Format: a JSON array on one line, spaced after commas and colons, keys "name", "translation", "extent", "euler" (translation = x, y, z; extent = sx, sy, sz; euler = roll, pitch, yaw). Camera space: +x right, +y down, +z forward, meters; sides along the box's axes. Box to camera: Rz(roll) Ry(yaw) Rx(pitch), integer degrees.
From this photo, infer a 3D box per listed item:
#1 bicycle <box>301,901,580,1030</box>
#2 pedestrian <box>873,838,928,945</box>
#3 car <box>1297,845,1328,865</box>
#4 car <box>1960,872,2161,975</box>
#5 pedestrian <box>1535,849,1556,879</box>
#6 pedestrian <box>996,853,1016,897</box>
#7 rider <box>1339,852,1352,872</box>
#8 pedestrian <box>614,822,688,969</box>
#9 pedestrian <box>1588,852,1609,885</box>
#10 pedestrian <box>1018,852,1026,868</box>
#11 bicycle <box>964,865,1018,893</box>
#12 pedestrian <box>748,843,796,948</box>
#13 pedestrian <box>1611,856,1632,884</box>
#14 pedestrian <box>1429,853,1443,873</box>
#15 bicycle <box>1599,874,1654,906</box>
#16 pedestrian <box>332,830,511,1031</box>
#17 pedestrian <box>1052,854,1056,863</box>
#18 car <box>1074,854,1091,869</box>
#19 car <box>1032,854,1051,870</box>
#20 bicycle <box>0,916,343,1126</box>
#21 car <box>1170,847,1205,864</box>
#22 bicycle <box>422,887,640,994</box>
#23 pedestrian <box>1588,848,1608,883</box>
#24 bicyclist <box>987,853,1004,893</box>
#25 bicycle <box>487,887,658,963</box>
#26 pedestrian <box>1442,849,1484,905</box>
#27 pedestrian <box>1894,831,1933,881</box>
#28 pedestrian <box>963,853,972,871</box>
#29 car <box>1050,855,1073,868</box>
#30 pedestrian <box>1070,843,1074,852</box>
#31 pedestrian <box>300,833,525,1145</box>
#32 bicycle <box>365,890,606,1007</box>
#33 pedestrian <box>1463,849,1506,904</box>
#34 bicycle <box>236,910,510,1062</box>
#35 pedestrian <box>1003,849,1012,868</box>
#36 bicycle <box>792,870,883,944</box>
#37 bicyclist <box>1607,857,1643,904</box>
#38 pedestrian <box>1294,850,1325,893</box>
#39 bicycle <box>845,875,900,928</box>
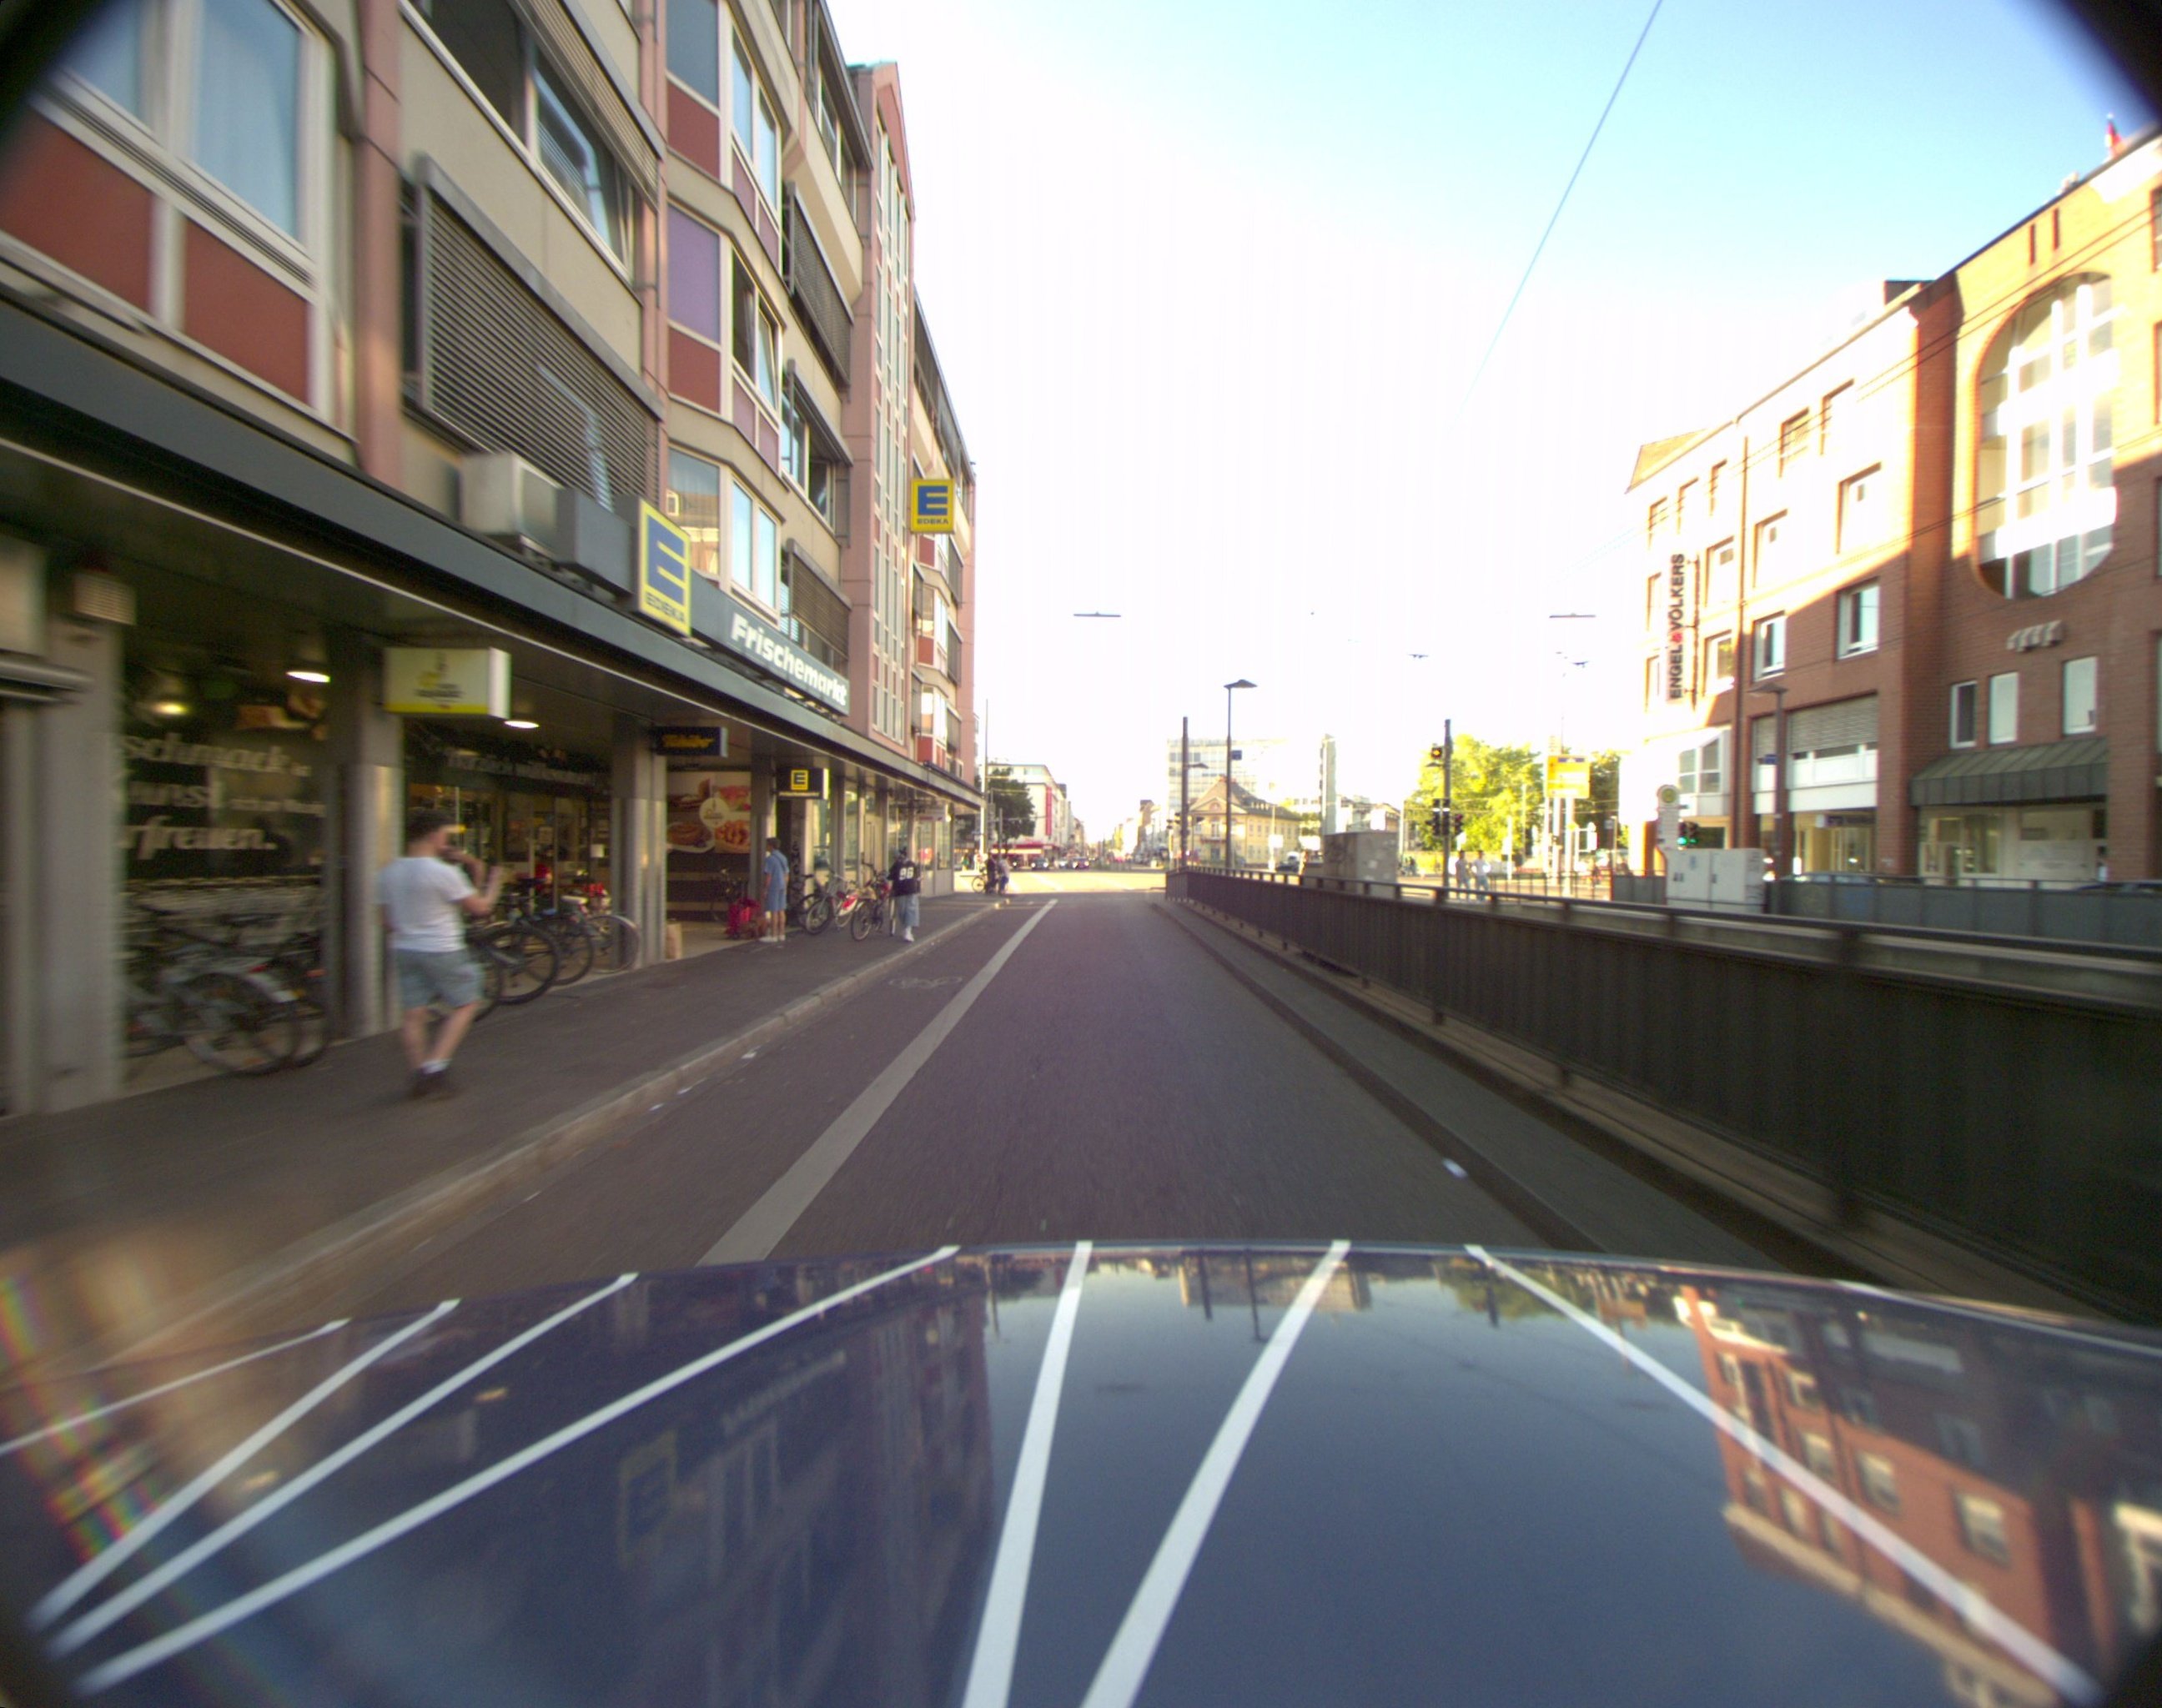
[{"name": "bicycle", "translation": [-5.830, 0.988, 6.969], "extent": [2.026, 0.967, 0.659], "euler": [3, 0, 3]}, {"name": "pedestrian", "translation": [-3.122, 0.639, 13.206], "extent": [0.806, 1.805, 0.733], "euler": [0, 1, -2]}, {"name": "car", "translation": [36.563, 0.120, 119.935], "extent": [2.535, 3.031, 6.387], "euler": [3, 3, 38]}, {"name": "car", "translation": [18.359, 1.171, 12.942], "extent": [1.897, 1.590, 4.197], "euler": [1, 0, 0]}, {"name": "pedestrian", "translation": [31.894, 0.655, 52.141], "extent": [0.811, 2.002, 0.860], "euler": [-2, 1, -13]}, {"name": "pedestrian", "translation": [-2.933, 0.795, 29.740], "extent": [0.637, 1.652, 0.768], "euler": [4, 1, -8]}, {"name": "rider", "translation": [27.894, 0.863, 80.166], "extent": [1.011, 2.002, 1.022], "euler": [-1, 1, 35]}, {"name": "pedestrian", "translation": [-5.613, 0.512, 9.910], "extent": [0.734, 1.805, 0.805], "euler": [0, 1, -36]}, {"name": "pedestrian", "translation": [28.940, 0.812, 42.488], "extent": [0.858, 1.757, 0.813], "euler": [-1, 1, 38]}, {"name": "pedestrian", "translation": [-6.614, 0.652, 85.393], "extent": [0.860, 1.700, 1.051], "euler": [-1, 1, -4]}, {"name": "bicycle", "translation": [-3.741, 1.052, 31.811], "extent": [2.175, 1.117, 0.768], "euler": [0, 1, -3]}, {"name": "pedestrian", "translation": [-4.856, 0.642, 11.959], "extent": [0.406, 1.586, 0.462], "euler": [4, 1, 29]}, {"name": "pedestrian", "translation": [29.843, 0.905, 41.952], "extent": [0.858, 1.502, 0.813], "euler": [-1, 1, 38]}, {"name": "pedestrian", "translation": [36.258, 0.883, 77.606], "extent": [1.011, 2.002, 0.991], "euler": [-1, 1, 35]}, {"name": "bicycle", "translation": [21.056, 1.378, 29.383], "extent": [0.574, 1.114, 2.054], "euler": [-2, 1, -2]}, {"name": "pedestrian", "translation": [-5.834, 0.634, 6.781], "extent": [0.779, 1.654, 0.917], "euler": [2, 1, -1]}, {"name": "pedestrian", "translation": [-4.273, 0.659, 121.984], "extent": [0.597, 1.434, 0.613], "euler": [1, 1, -2]}, {"name": "car", "translation": [0.194, 0.832, 88.223], "extent": [1.971, 1.664, 4.875], "euler": [-1, 0, 1]}, {"name": "car", "translation": [-4.371, 0.886, 84.998], "extent": [1.972, 1.664, 4.874], "euler": [-1, 0, -2]}, {"name": "bicycle", "translation": [-5.643, 0.952, 4.522], "extent": [1.929, 1.054, 0.576], "euler": [2, 1, 1]}, {"name": "car", "translation": [15.540, 0.265, 111.307], "extent": [2.547, 2.440, 5.411], "euler": [-1, 0, -26]}, {"name": "bicycle", "translation": [-5.977, 0.930, 8.316], "extent": [1.929, 1.054, 0.576], "euler": [2, 1, -2]}, {"name": "pedestrian", "translation": [30.509, 0.668, 44.834], "extent": [0.858, 2.002, 0.813], "euler": [-1, 1, 38]}, {"name": "bicyclist", "translation": [-3.580, 0.777, 31.821], "extent": [0.637, 1.668, 0.768], "euler": [0, 1, -3]}, {"name": "bicycle", "translation": [-6.993, 0.967, 10.503], "extent": [1.929, 0.933, 0.576], "euler": [2, 1, -2]}, {"name": "pedestrian", "translation": [12.315, 0.724, 24.524], "extent": [0.861, 1.757, 0.810], "euler": [-2, 1, -10]}, {"name": "pedestrian", "translation": [28.190, 0.061, 25.737], "extent": [0.612, 1.652, 0.637], "euler": [0, 1, 0]}, {"name": "pedestrian", "translation": [-9.267, 0.623, 62.108], "extent": [0.597, 1.434, 0.613], "euler": [-2, 1, -10]}, {"name": "car", "translation": [-2.614, 0.983, 102.350], "extent": [1.974, 1.664, 4.869], "euler": [-1, 0, -16]}, {"name": "pedestrian", "translation": [-1.478, -0.982, 121.787], "extent": [0.597, 1.434, 0.613], "euler": [0, 1, -11]}, {"name": "pedestrian", "translation": [-3.870, 0.722, 4.460], "extent": [0.634, 1.664, 0.771], "euler": [1, 1, 1]}, {"name": "bicycle", "translation": [-5.953, 0.933, 7.656], "extent": [1.929, 1.054, 0.576], "euler": [2, 1, -2]}, {"name": "pedestrian", "translation": [13.136, 0.718, 24.754], "extent": [0.861, 1.757, 0.810], "euler": [-2, 1, -8]}, {"name": "bicycle", "translation": [-5.450, 0.988, 5.880], "extent": [1.734, 0.968, 0.506], "euler": [3, 1, 6]}, {"name": "pedestrian", "translation": [-7.663, 0.473, 79.138], "extent": [0.747, 2.002, 1.070], "euler": [-2, 1, -12]}, {"name": "bicycle", "translation": [-4.367, 0.923, 13.746], "extent": [0.800, 1.169, 1.634], "euler": [4, 1, 12]}, {"name": "bicyclist", "translation": [21.047, 0.998, 29.411], "extent": [0.738, 1.757, 0.811], "euler": [-2, 1, -2]}, {"name": "pedestrian", "translation": [9.709, 0.739, 32.279], "extent": [0.812, 1.793, 0.859], "euler": [-3, 1, -28]}, {"name": "bicycle", "translation": [-4.525, 1.011, 16.601], "extent": [0.678, 0.971, 1.842], "euler": [5, 1, -2]}]
